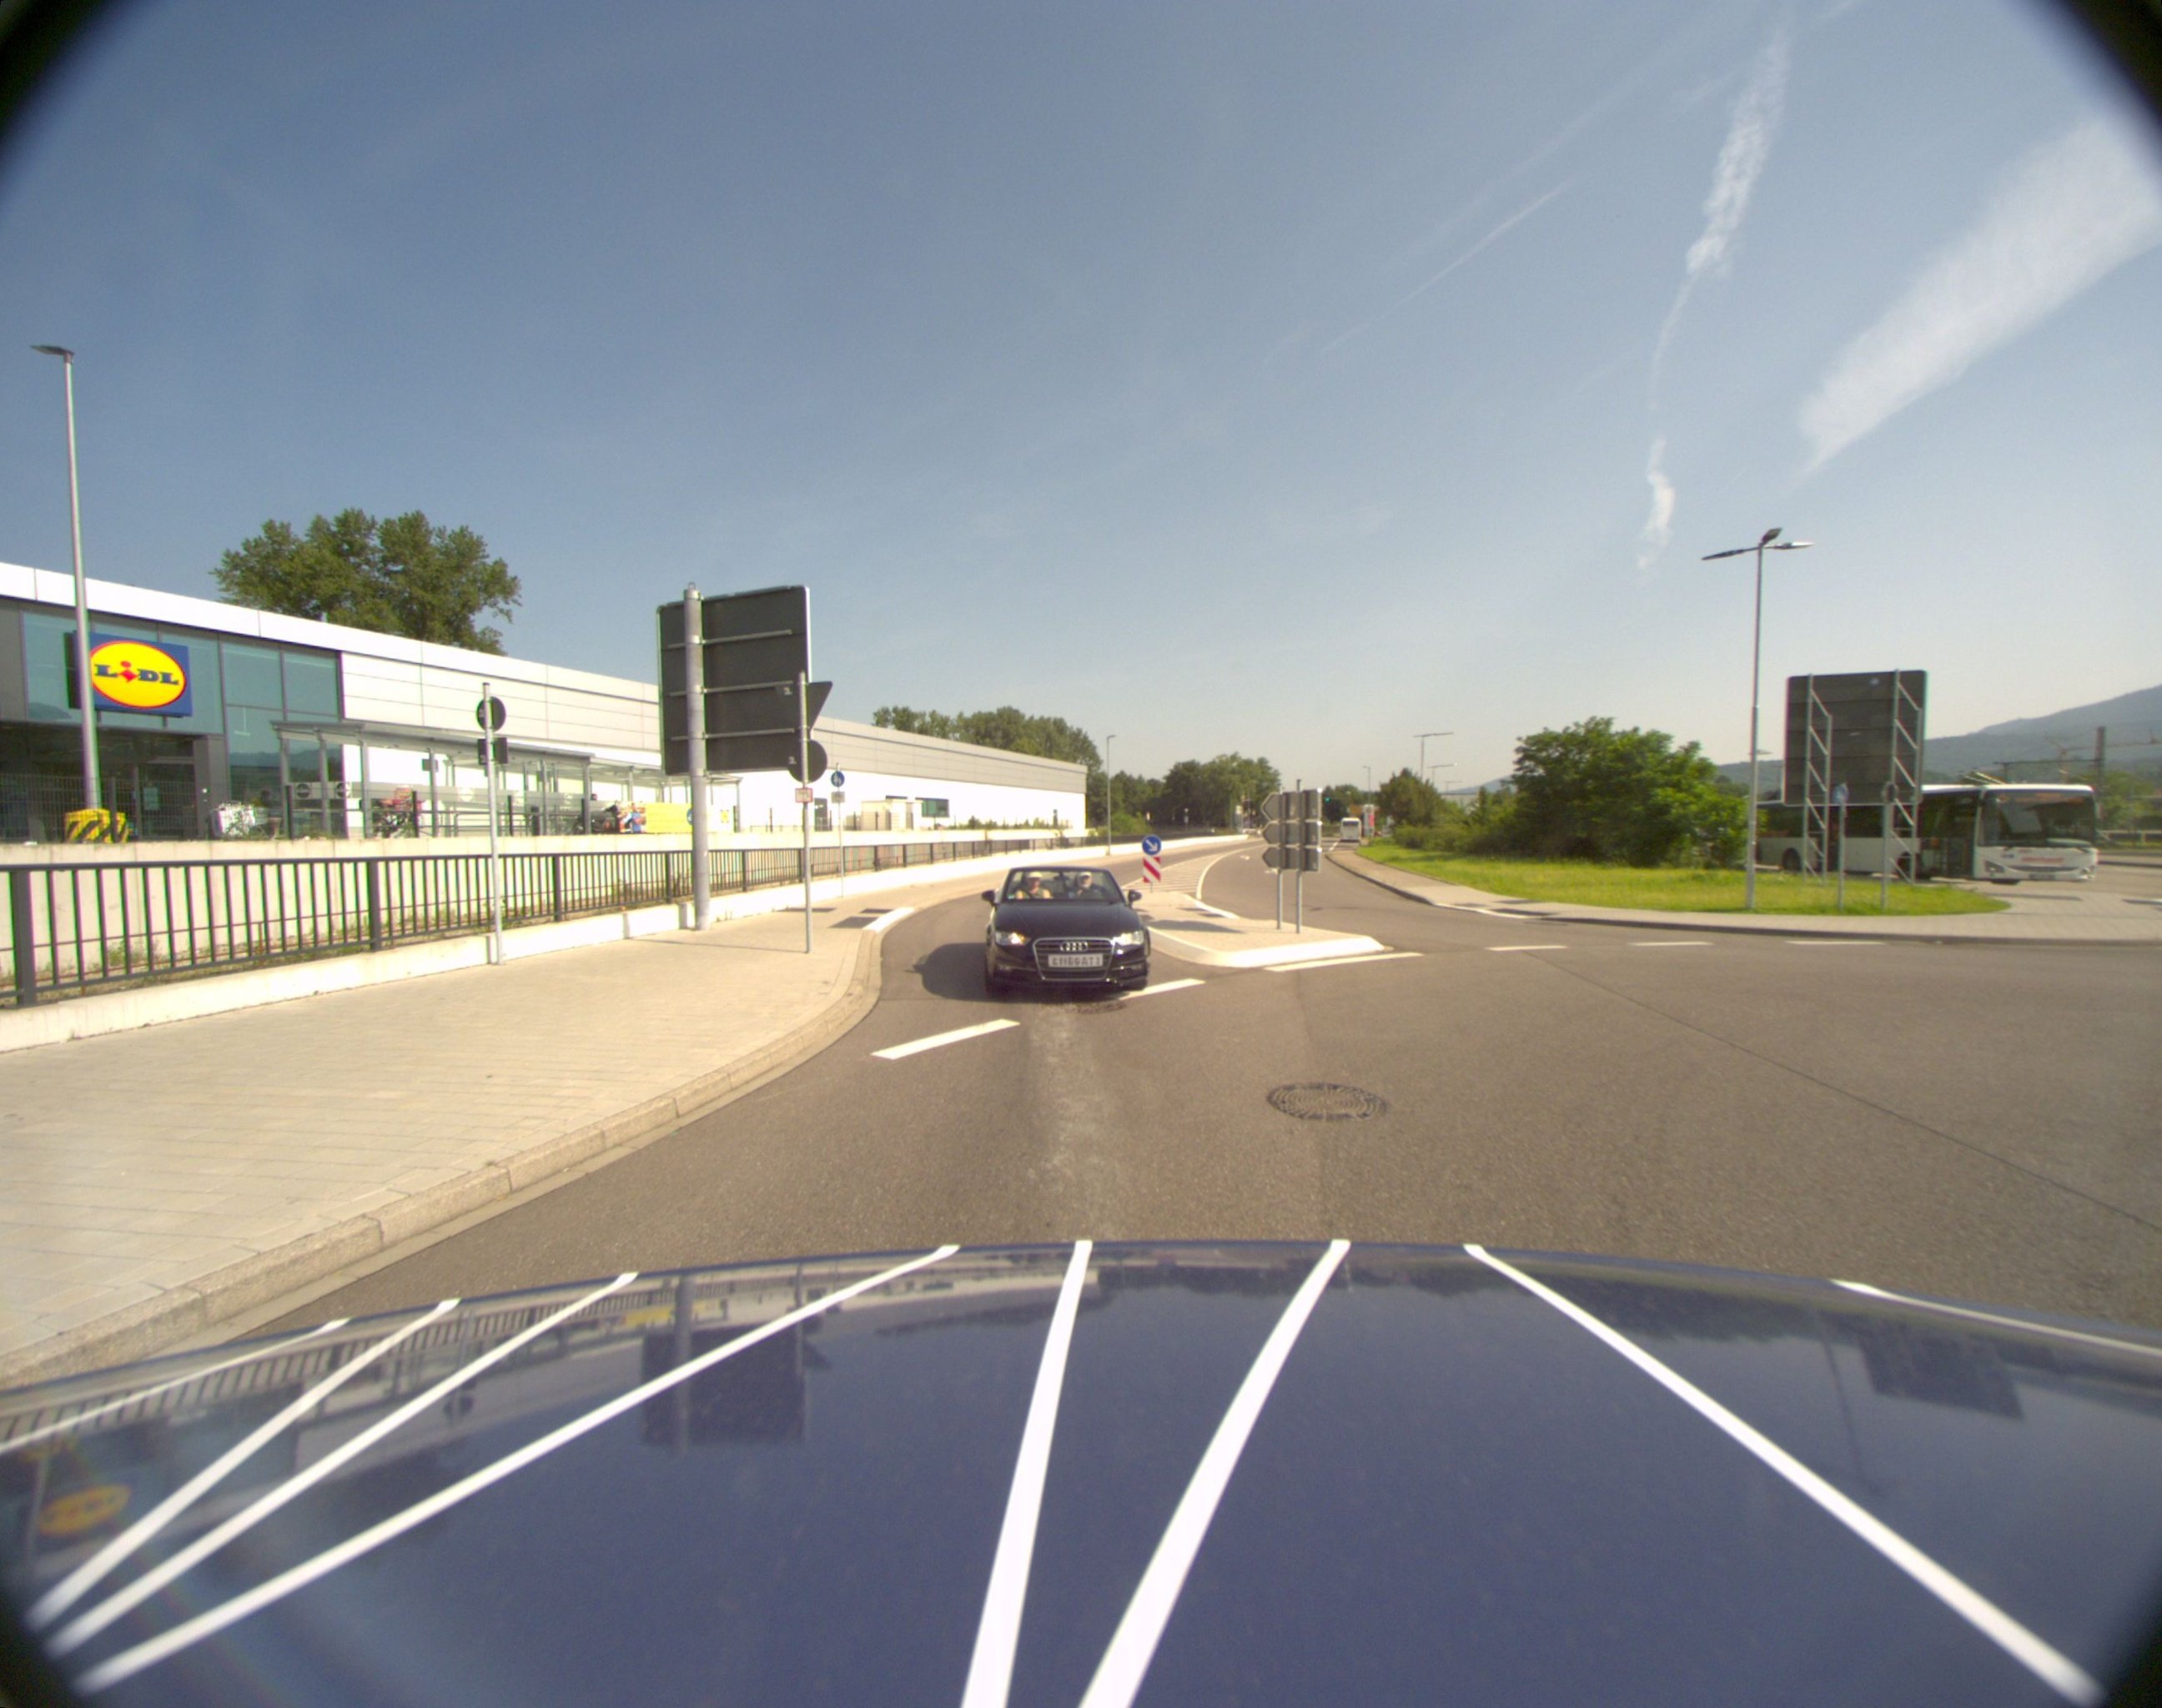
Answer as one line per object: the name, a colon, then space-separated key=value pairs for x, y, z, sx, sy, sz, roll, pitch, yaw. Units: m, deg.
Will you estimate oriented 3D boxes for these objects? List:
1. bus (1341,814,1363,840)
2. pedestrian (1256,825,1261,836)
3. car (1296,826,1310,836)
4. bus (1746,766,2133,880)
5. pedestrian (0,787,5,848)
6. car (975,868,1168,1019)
bus: x=37.477 y=-3.817 z=105.008 sx=2.623 sy=3.292 sz=11.969 roll=1 pitch=3 yaw=19
pedestrian: x=28.235 y=-3.721 z=120.654 sx=0.711 sy=1.662 sz=0.593 roll=1 pitch=3 yaw=13
car: x=32.902 y=-3.451 z=112.591 sx=1.774 sy=1.465 sz=4.224 roll=1 pitch=3 yaw=20
bus: x=28.650 y=-1.017 z=26.728 sx=3.068 sy=3.106 sz=11.731 roll=0 pitch=2 yaw=16
pedestrian: x=-18.608 y=-0.746 z=12.583 sx=0.548 sy=1.305 sz=0.656 roll=0 pitch=3 yaw=4
car: x=-0.302 y=0.904 z=9.505 sx=1.870 sy=1.323 sz=4.229 roll=-1 pitch=0 yaw=-6
